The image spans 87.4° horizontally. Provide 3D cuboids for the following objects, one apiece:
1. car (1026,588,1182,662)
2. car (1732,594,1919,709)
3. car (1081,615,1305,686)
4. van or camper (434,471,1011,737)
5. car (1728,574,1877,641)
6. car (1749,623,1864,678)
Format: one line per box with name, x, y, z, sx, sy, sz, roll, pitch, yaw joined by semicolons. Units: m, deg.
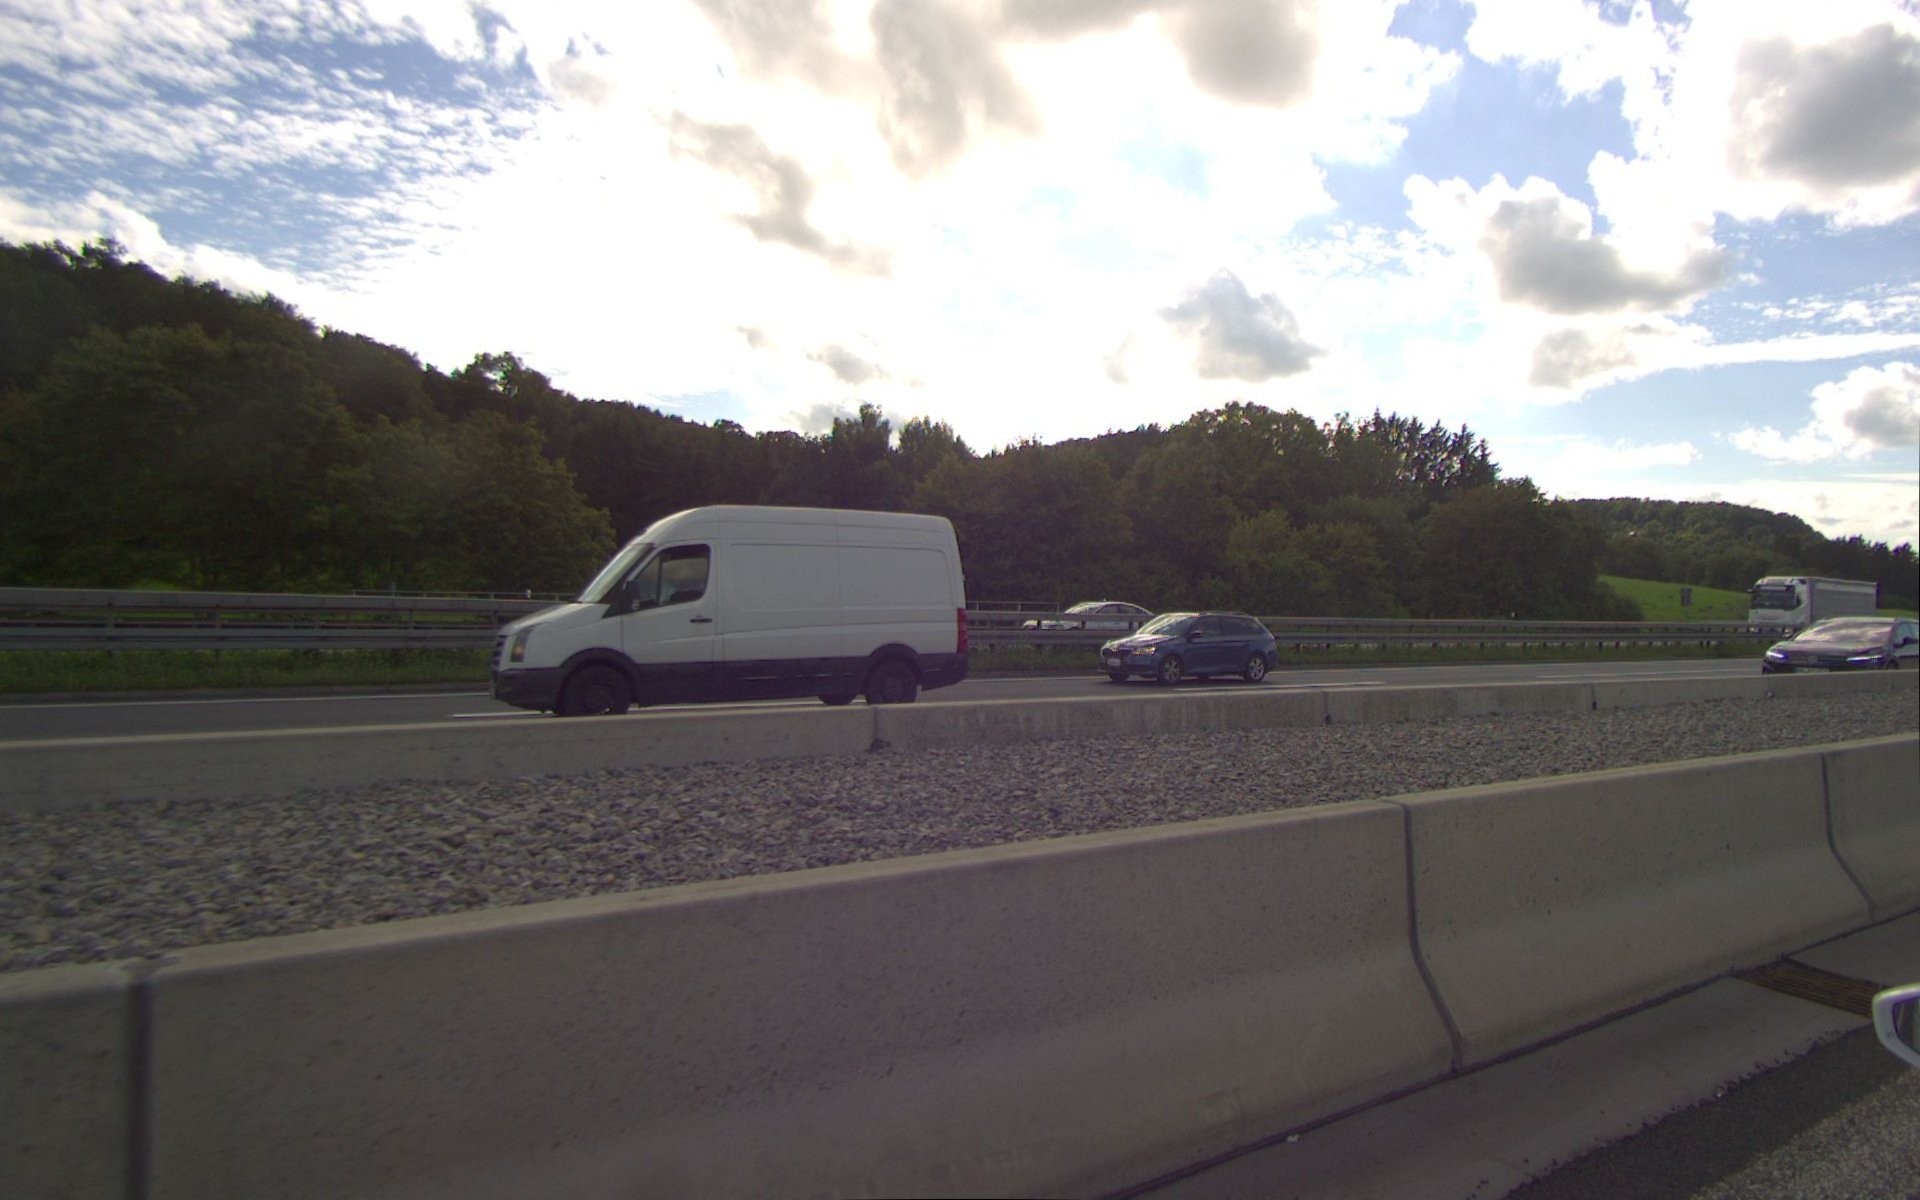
car;4.261;0.740;29.607;4.223;2.040;1.984;2;0;-30
car;17.364;0.959;19.785;4.223;2.040;1.984;2;0;-30
car;4.883;1.021;20.796;4.699;1.311;1.619;2;0;-30
van or camper;-2.729;0.112;12.667;6.786;2.659;1.976;2;0;-32
car;56.784;0.639;67.457;14.676;4.134;3.793;2;0;-34
car;28.669;1.692;34.010;4.104;1.722;1.717;1;0;-31
